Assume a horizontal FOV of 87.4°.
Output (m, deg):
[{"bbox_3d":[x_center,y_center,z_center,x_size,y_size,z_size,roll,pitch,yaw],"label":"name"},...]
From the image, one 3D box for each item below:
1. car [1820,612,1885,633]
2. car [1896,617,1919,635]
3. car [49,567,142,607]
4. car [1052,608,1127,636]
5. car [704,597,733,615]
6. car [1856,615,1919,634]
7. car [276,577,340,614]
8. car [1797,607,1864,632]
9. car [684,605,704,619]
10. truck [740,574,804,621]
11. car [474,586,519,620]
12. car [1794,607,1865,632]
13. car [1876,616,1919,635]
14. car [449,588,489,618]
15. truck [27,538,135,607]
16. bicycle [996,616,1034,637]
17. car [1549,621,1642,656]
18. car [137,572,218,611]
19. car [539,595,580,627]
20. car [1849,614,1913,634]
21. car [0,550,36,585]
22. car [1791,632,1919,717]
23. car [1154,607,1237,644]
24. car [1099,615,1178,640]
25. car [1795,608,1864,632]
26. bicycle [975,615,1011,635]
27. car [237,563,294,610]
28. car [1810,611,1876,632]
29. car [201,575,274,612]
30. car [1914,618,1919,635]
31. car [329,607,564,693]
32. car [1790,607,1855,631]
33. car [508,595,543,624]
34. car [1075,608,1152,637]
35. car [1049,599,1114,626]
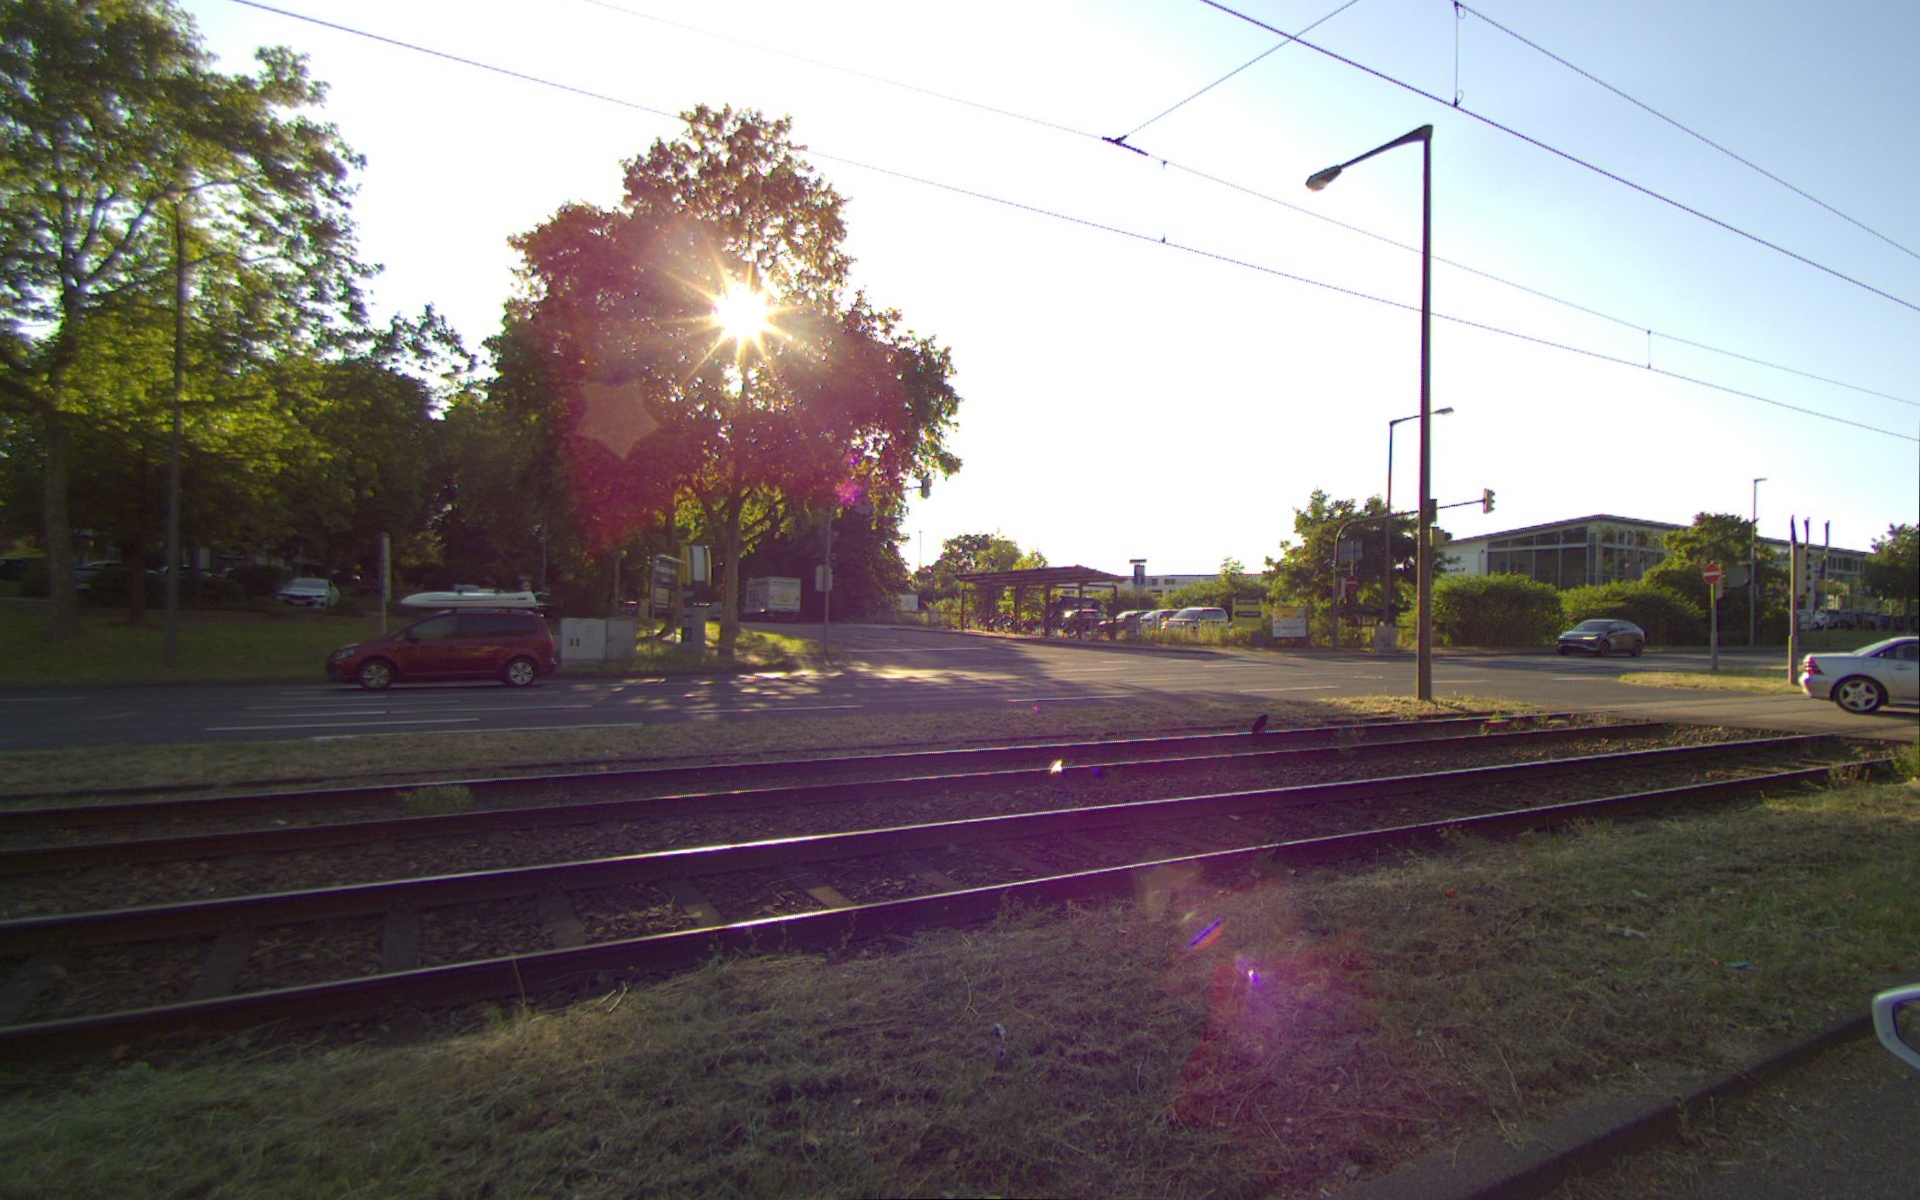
[{"bbox_3d":[74.220,1.855,83.614,3.940,1.576,1.735,1,0,40],"label":"car"},{"bbox_3d":[88.393,2.398,91.745,1.725,1.642,3.962,1,0,-34],"label":"car"},{"bbox_3d":[-36.077,-0.533,42.023,1.916,1.530,4.071,2,0,-26],"label":"car"},{"bbox_3d":[7.727,1.307,59.996,4.123,1.604,1.968,1,0,-30],"label":"car"},{"bbox_3d":[-22.849,0.536,94.992,1.711,1.603,4.028,1,0,-27],"label":"car"},{"bbox_3d":[81.777,2.165,88.513,1.728,1.576,3.957,1,0,-37],"label":"car"},{"bbox_3d":[-29.422,-0.198,45.441,1.916,1.530,4.071,2,0,-26],"label":"car"},{"bbox_3d":[68.374,1.502,78.985,3.940,1.840,1.735,1,0,40],"label":"car"},{"bbox_3d":[-33.249,1.528,125.385,1.887,1.602,4.036,2,0,-21],"label":"car"},{"bbox_3d":[-15.036,-0.243,79.792,2.782,3.520,8.291,1,0,-27],"label":"truck"},{"bbox_3d":[-22.924,0.132,49.591,1.916,1.530,4.071,2,0,-26],"label":"car"},{"bbox_3d":[65.190,1.454,75.373,3.940,1.727,1.735,1,0,40],"label":"car"},{"bbox_3d":[84.923,2.288,90.005,1.726,1.576,3.960,1,0,-35],"label":"car"},{"bbox_3d":[-28.562,0.151,58.497,1.836,1.637,4.036,2,0,-23],"label":"car"},{"bbox_3d":[-44.503,-1.315,51.068,2.468,3.209,6.187,2,0,-26],"label":"truck"},{"bbox_3d":[3.080,1.491,56.415,2.004,1.119,0.777,2,0,-30],"label":"bicycle"},{"bbox_3d":[29.032,1.739,45.869,4.120,1.501,1.854,1,0,-29],"label":"car"},{"bbox_3d":[-33.946,-0.371,43.687,1.916,1.530,4.071,2,0,-26],"label":"car"},{"bbox_3d":[-20.429,0.544,51.140,1.604,1.477,3.878,2,0,-27],"label":"car"},{"bbox_3d":[79.625,2.077,86.894,3.940,1.576,1.735,1,0,40],"label":"car"},{"bbox_3d":[-53.849,-1.852,56.385,2.274,1.875,5.220,2,0,-36],"label":"car"},{"bbox_3d":[15.983,1.206,16.154,3.929,1.311,1.604,-1,-1,45],"label":"car"},{"bbox_3d":[12.373,1.340,52.738,4.123,1.846,1.853,1,0,-30],"label":"car"},{"bbox_3d":[9.950,1.501,55.870,4.123,1.284,1.853,1,0,-30],"label":"car"},{"bbox_3d":[66.736,1.504,77.173,3.940,1.727,1.735,1,0,40],"label":"car"},{"bbox_3d":[1.938,1.469,59.051,2.004,1.119,0.777,2,0,-30],"label":"bicycle"},{"bbox_3d":[-37.287,-0.725,54.010,2.138,2.334,4.370,2,0,-31],"label":"car"},{"bbox_3d":[72.000,1.759,81.946,3.940,1.576,1.735,1,0,40],"label":"car"},{"bbox_3d":[-32.103,-0.298,44.759,1.916,1.530,4.071,2,0,-26],"label":"car"},{"bbox_3d":[91.309,2.514,93.024,1.725,1.642,3.962,1,0,-34],"label":"car"},{"bbox_3d":[-10.810,1.041,21.267,4.264,1.656,1.827,2,-2,-32],"label":"car"},{"bbox_3d":[69.336,1.520,80.830,3.940,1.840,1.735,1,0,40],"label":"car"},{"bbox_3d":[-26.214,0.529,60.683,1.836,1.637,4.036,2,0,-23],"label":"car"},{"bbox_3d":[8.831,1.299,57.801,4.123,1.604,1.853,1,0,-30],"label":"car"},{"bbox_3d":[9.298,0.956,76.667,4.715,2.041,1.853,1,0,-30],"label":"car"}]
